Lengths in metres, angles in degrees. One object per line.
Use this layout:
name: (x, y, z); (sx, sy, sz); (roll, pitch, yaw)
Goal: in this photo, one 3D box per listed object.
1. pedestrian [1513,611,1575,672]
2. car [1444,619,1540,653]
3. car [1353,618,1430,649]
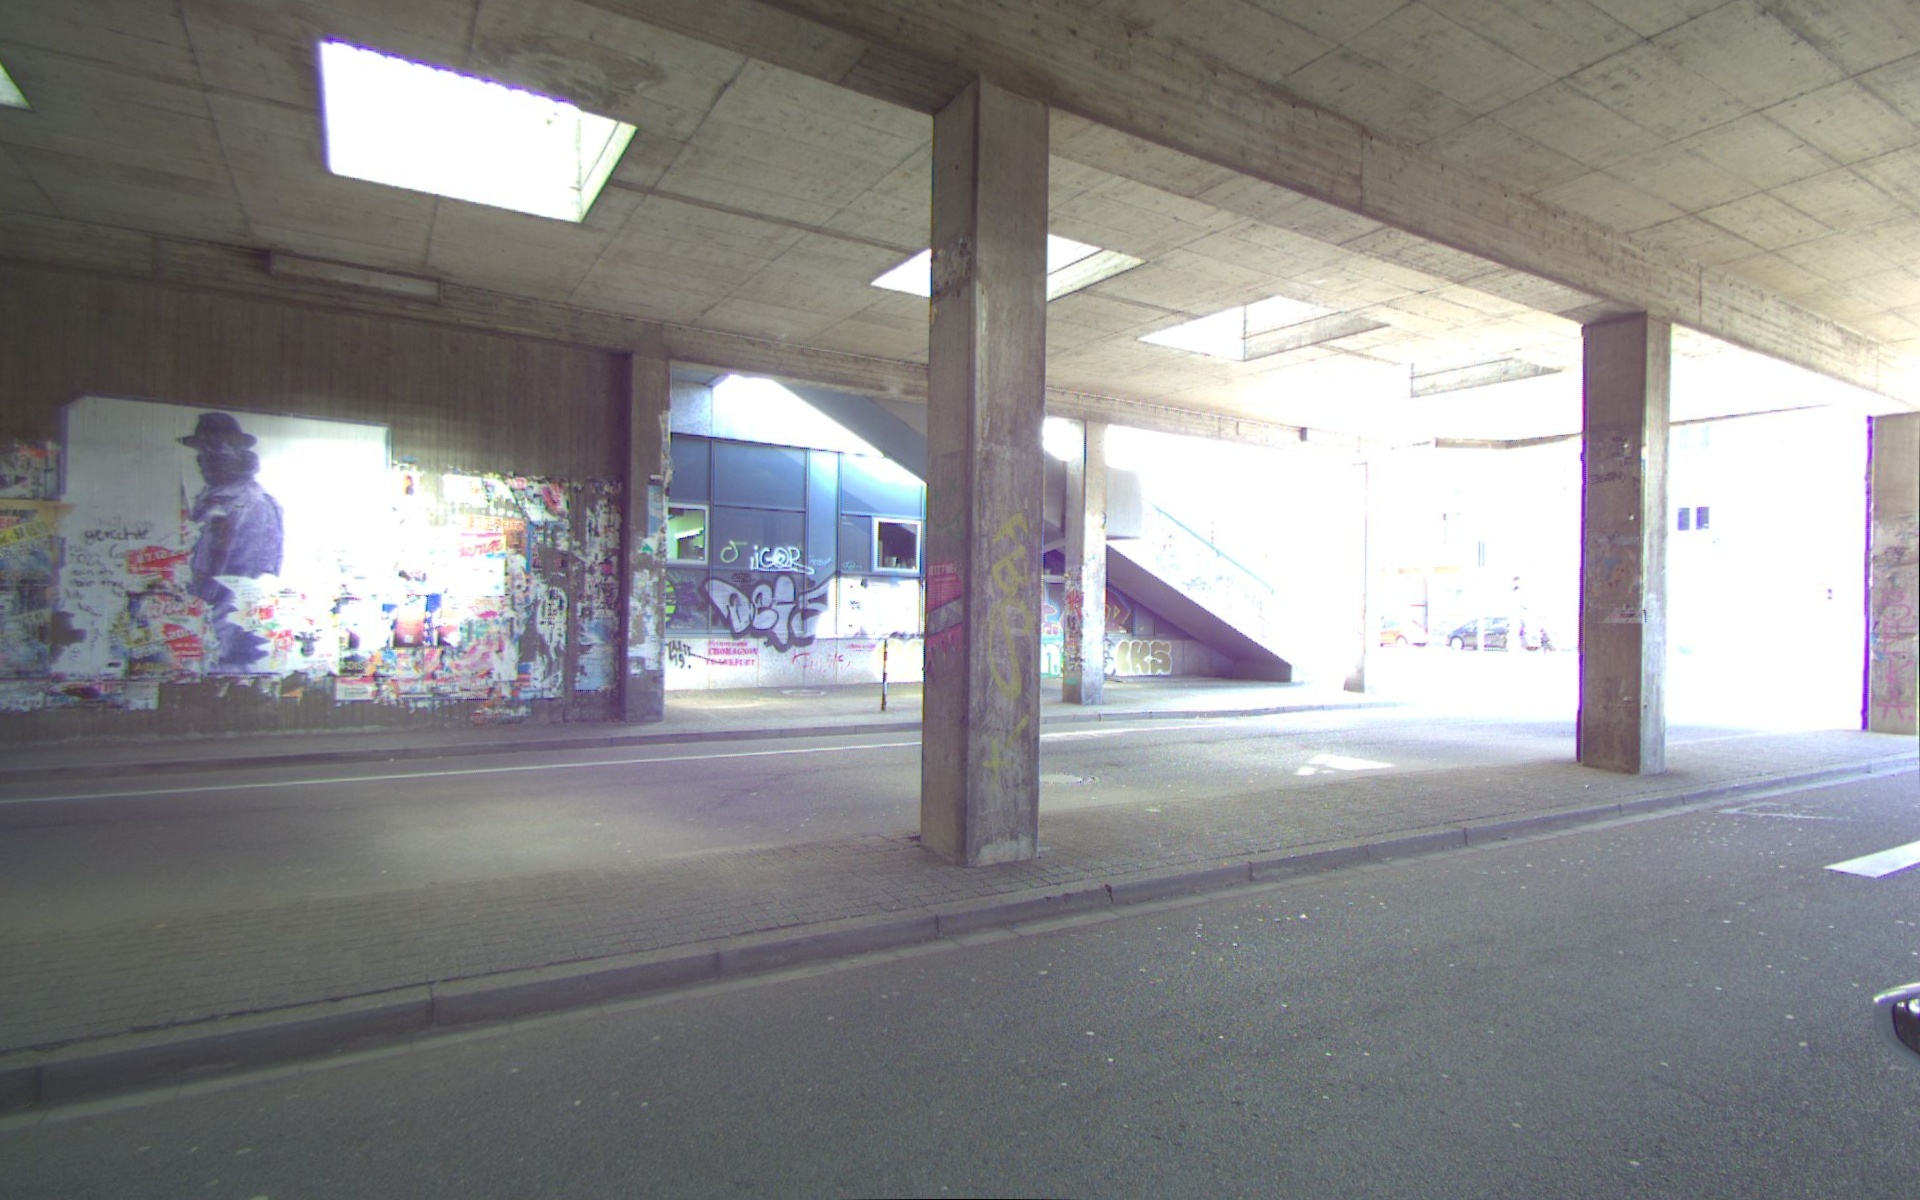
pedestrian: (17.128, 1.209, 29.463); (1.123, 1.760, 1.111); (1, -1, -17)
car: (25.283, 1.683, 47.836); (1.732, 1.528, 3.735); (1, -1, -31)
car: (22.484, 1.735, 52.469); (1.543, 1.526, 3.518); (1, -1, -29)
